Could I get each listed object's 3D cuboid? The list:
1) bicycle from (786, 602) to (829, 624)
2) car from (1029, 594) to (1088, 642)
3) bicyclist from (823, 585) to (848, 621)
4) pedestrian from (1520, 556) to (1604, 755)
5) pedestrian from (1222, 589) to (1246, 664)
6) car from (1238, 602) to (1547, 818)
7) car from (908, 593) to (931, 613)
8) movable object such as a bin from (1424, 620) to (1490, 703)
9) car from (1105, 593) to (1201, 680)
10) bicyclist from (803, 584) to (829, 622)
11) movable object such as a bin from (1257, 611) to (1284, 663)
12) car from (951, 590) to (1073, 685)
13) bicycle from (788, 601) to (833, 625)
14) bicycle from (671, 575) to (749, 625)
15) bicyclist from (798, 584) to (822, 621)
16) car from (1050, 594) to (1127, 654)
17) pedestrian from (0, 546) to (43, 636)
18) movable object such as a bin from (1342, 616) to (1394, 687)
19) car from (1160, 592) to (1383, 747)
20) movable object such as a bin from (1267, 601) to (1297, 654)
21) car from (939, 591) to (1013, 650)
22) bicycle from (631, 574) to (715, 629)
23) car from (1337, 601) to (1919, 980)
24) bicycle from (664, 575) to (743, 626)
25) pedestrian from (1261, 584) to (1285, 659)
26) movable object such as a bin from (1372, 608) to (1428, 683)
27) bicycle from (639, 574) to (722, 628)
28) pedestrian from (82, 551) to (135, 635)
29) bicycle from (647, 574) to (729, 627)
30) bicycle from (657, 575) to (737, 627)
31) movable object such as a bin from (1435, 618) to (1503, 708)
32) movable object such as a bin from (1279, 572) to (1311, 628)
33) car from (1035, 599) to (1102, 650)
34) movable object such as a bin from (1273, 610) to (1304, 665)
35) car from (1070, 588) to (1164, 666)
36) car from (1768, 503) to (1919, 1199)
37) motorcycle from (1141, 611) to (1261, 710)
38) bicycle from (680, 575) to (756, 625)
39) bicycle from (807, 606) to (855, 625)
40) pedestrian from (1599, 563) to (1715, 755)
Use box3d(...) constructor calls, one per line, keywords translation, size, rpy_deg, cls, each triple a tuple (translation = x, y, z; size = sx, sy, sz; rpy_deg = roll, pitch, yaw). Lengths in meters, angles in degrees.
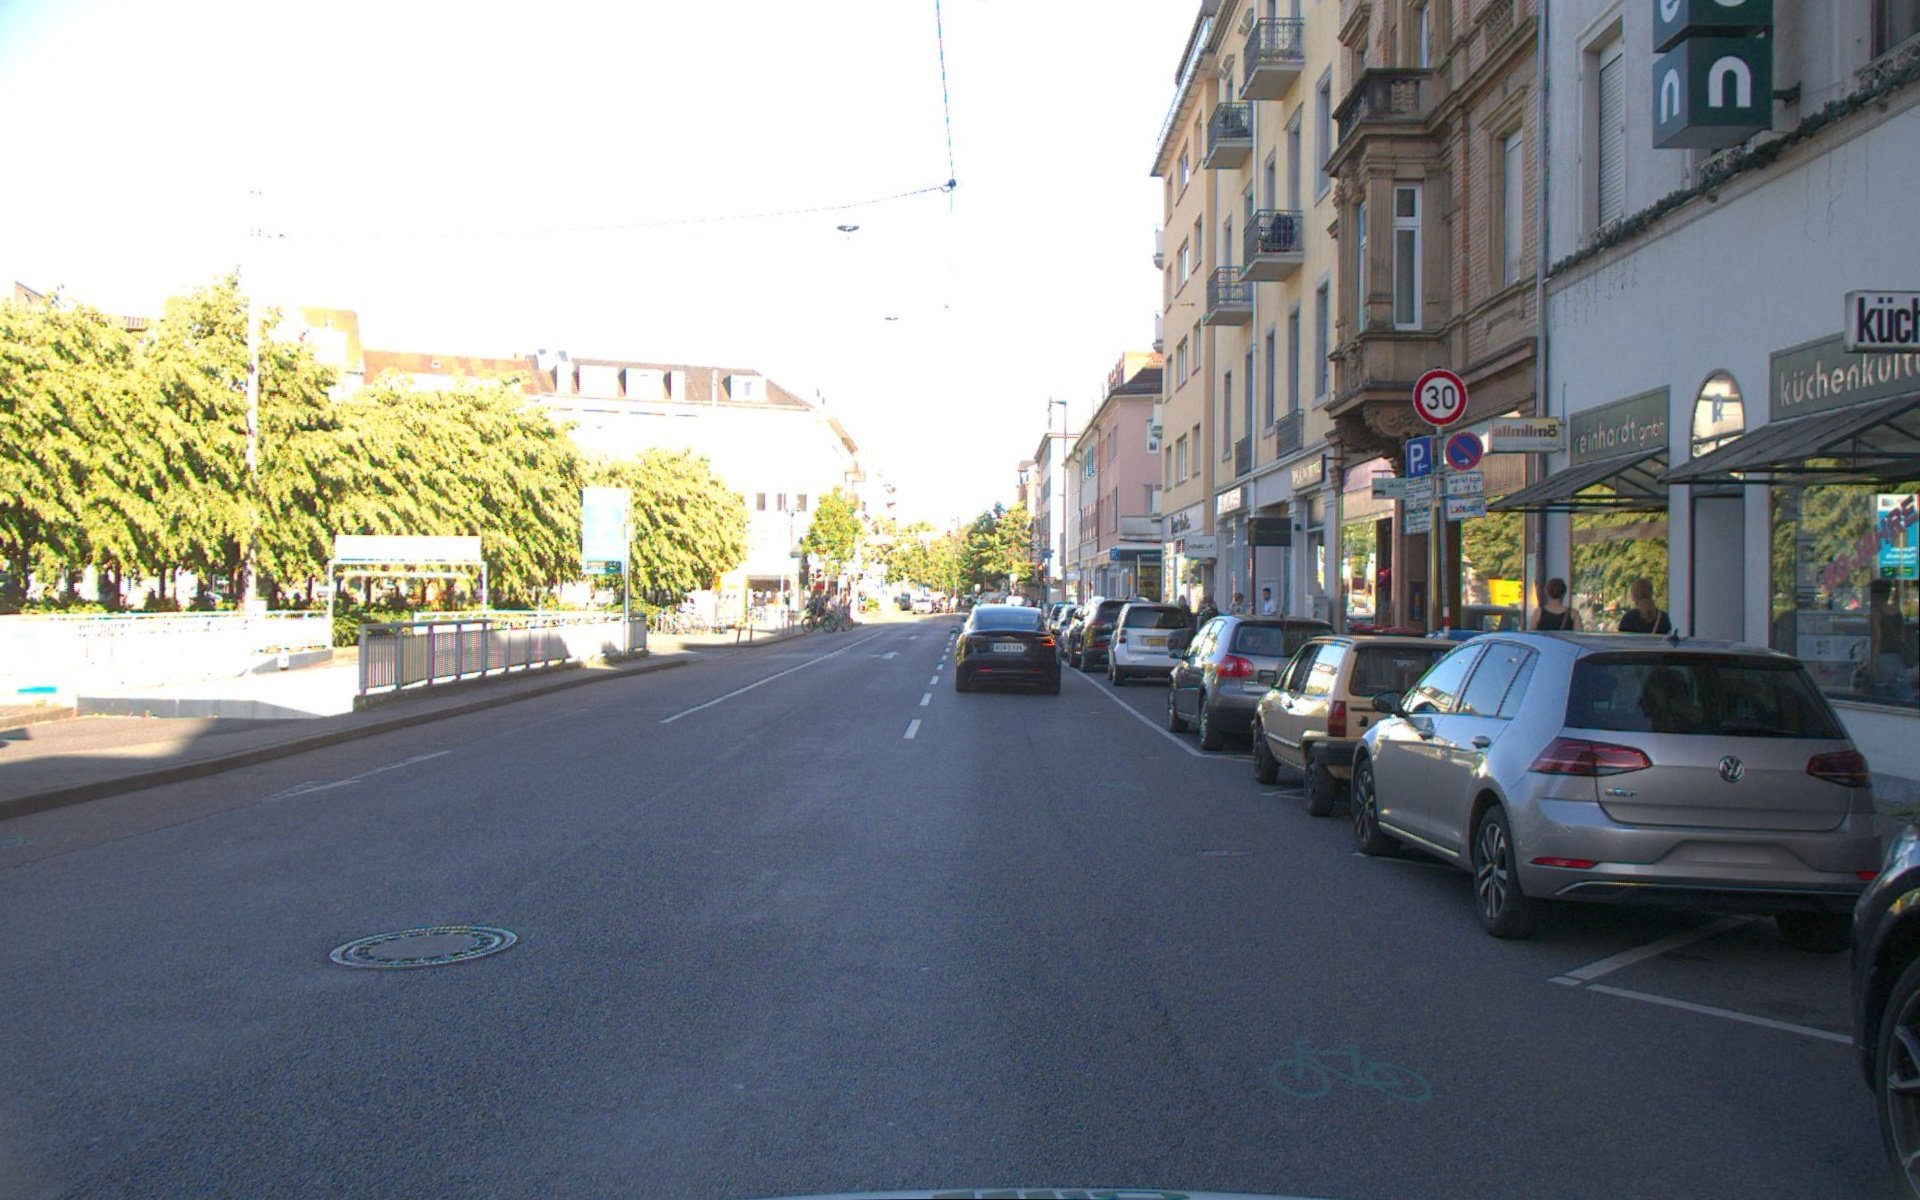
box3d(translation=(-7.162, 0.612, 77.792), size=(1.971, 1.040, 0.762), rpy_deg=(0, 0, -3), cls="bicycle")
box3d(translation=(3.273, 0.617, 55.551), size=(1.755, 1.485, 3.868), rpy_deg=(1, -1, 0), cls="car")
box3d(translation=(-6.023, 0.160, 80.045), size=(1.122, 1.715, 0.915), rpy_deg=(0, 0, 4), cls="bicyclist")
box3d(translation=(5.538, 0.500, 15.238), size=(0.607, 1.797, 0.519), rpy_deg=(0, 0, 3), cls="pedestrian")
box3d(translation=(6.128, 0.587, 37.039), size=(0.460, 1.664, 0.513), rpy_deg=(1, 0, 16), cls="pedestrian")
box3d(translation=(3.432, 0.796, 13.811), size=(1.575, 1.474, 3.830), rpy_deg=(1, 0, 0), cls="car")
box3d(translation=(-3.736, 0.252, 153.316), size=(1.952, 1.802, 4.001), rpy_deg=(1, 1, 2), cls="car")
box3d(translation=(6.620, 0.808, 22.036), size=(0.665, 1.061, 0.626), rpy_deg=(-1, 0, 0), cls="movable object such as a bin")
box3d(translation=(3.743, 0.672, 32.446), size=(1.580, 1.573, 2.856), rpy_deg=(1, 0, 1), cls="car")
box3d(translation=(-6.550, 0.134, 75.044), size=(1.123, 1.715, 0.918), rpy_deg=(0, 0, -3), cls="bicyclist")
box3d(translation=(6.557, 0.771, 34.946), size=(0.446, 1.070, 0.499), rpy_deg=(-1, 0, -1), cls="movable object such as a bin")
box3d(translation=(0.853, 0.654, 29.523), size=(1.955, 1.506, 4.494), rpy_deg=(1, -1, -1), cls="car")
box3d(translation=(-6.764, 0.585, 75.037), size=(1.971, 1.040, 0.887), rpy_deg=(0, 0, -3), cls="bicycle")
box3d(translation=(-10.435, 0.002, 69.113), size=(3.054, 2.049, 0.909), rpy_deg=(1, 0, 9), cls="bicycle")
box3d(translation=(-7.053, 0.131, 77.800), size=(1.123, 1.715, 0.819), rpy_deg=(0, 0, -3), cls="bicyclist")
box3d(translation=(3.432, 0.653, 44.780), size=(1.755, 1.485, 4.084), rpy_deg=(1, -1, 0), cls="car")
box3d(translation=(-22.765, -0.211, 39.798), size=(0.717, 2.145, 0.967), rpy_deg=(0, 0, 22), cls="pedestrian")
box3d(translation=(6.535, 0.825, 26.537), size=(0.631, 1.095, 0.820), rpy_deg=(-1, 0, 1), cls="movable object such as a bin")
box3d(translation=(3.550, 0.722, 19.601), size=(1.801, 1.573, 4.228), rpy_deg=(1, 0, 0), cls="car")
box3d(translation=(6.598, 0.563, 33.906), size=(0.469, 1.070, 0.632), rpy_deg=(-1, 0, -1), cls="movable object such as a bin")
box3d(translation=(0.475, 0.522, 45.198), size=(1.894, 1.513, 4.272), rpy_deg=(1, 0, 2), cls="car")
box3d(translation=(-11.106, 0.051, 64.002), size=(3.054, 2.049, 0.909), rpy_deg=(1, 0, 9), cls="bicycle")
box3d(translation=(3.434, 0.806, 9.033), size=(1.801, 1.513, 4.184), rpy_deg=(2, 0, 0), cls="car")
box3d(translation=(-10.556, 0.014, 68.076), size=(3.054, 2.049, 0.909), rpy_deg=(1, 0, 9), cls="bicycle")
box3d(translation=(7.045, 0.474, 37.259), size=(0.460, 1.664, 0.513), rpy_deg=(1, 0, 5), cls="pedestrian")
box3d(translation=(6.552, 0.672, 24.638), size=(0.631, 1.070, 0.632), rpy_deg=(-1, 0, -1), cls="movable object such as a bin")
box3d(translation=(-10.985, 0.040, 64.957), size=(3.054, 2.049, 0.909), rpy_deg=(1, 0, 9), cls="bicycle")
box3d(translation=(-22.118, -0.190, 42.964), size=(0.717, 2.145, 0.967), rpy_deg=(0, 0, 22), cls="pedestrian")
box3d(translation=(-10.838, 0.025, 65.948), size=(3.054, 2.049, 0.909), rpy_deg=(1, 0, 9), cls="bicycle")
box3d(translation=(-10.664, 0.032, 66.993), size=(3.054, 2.049, 0.909), rpy_deg=(1, 0, 9), cls="bicycle")
box3d(translation=(6.557, 0.800, 21.327), size=(0.665, 1.115, 0.626), rpy_deg=(-1, 0, 0), cls="movable object such as a bin")
box3d(translation=(6.542, -0.006, 32.297), size=(0.469, 1.070, 0.632), rpy_deg=(-1, 0, -1), cls="movable object such as a bin")
box3d(translation=(3.336, 0.755, 51.411), size=(1.756, 1.485, 3.867), rpy_deg=(1, -1, -1), cls="car")
box3d(translation=(6.591, 0.747, 33.197), size=(0.485, 1.070, 0.632), rpy_deg=(-1, 0, -1), cls="movable object such as a bin")
box3d(translation=(3.574, 0.614, 38.277), size=(1.681, 1.664, 4.083), rpy_deg=(1, -1, -1), cls="car")
box3d(translation=(3.259, 0.683, 2.281), size=(1.933, 1.755, 4.824), rpy_deg=(1, 0, 0), cls="car")
box3d(translation=(3.482, 0.844, 23.751), size=(0.645, 1.351, 2.030), rpy_deg=(0, 0, 44), cls="motorcycle")
box3d(translation=(-10.272, 0.003, 70.155), size=(3.054, 2.049, 0.909), rpy_deg=(1, 0, 9), cls="bicycle")
box3d(translation=(-6.257, 0.730, 80.048), size=(2.196, 0.898, 0.924), rpy_deg=(0, 0, 4), cls="bicycle")
box3d(translation=(6.397, 0.530, 15.199), size=(0.784, 1.704, 0.590), rpy_deg=(-2, 0, 3), cls="pedestrian")
